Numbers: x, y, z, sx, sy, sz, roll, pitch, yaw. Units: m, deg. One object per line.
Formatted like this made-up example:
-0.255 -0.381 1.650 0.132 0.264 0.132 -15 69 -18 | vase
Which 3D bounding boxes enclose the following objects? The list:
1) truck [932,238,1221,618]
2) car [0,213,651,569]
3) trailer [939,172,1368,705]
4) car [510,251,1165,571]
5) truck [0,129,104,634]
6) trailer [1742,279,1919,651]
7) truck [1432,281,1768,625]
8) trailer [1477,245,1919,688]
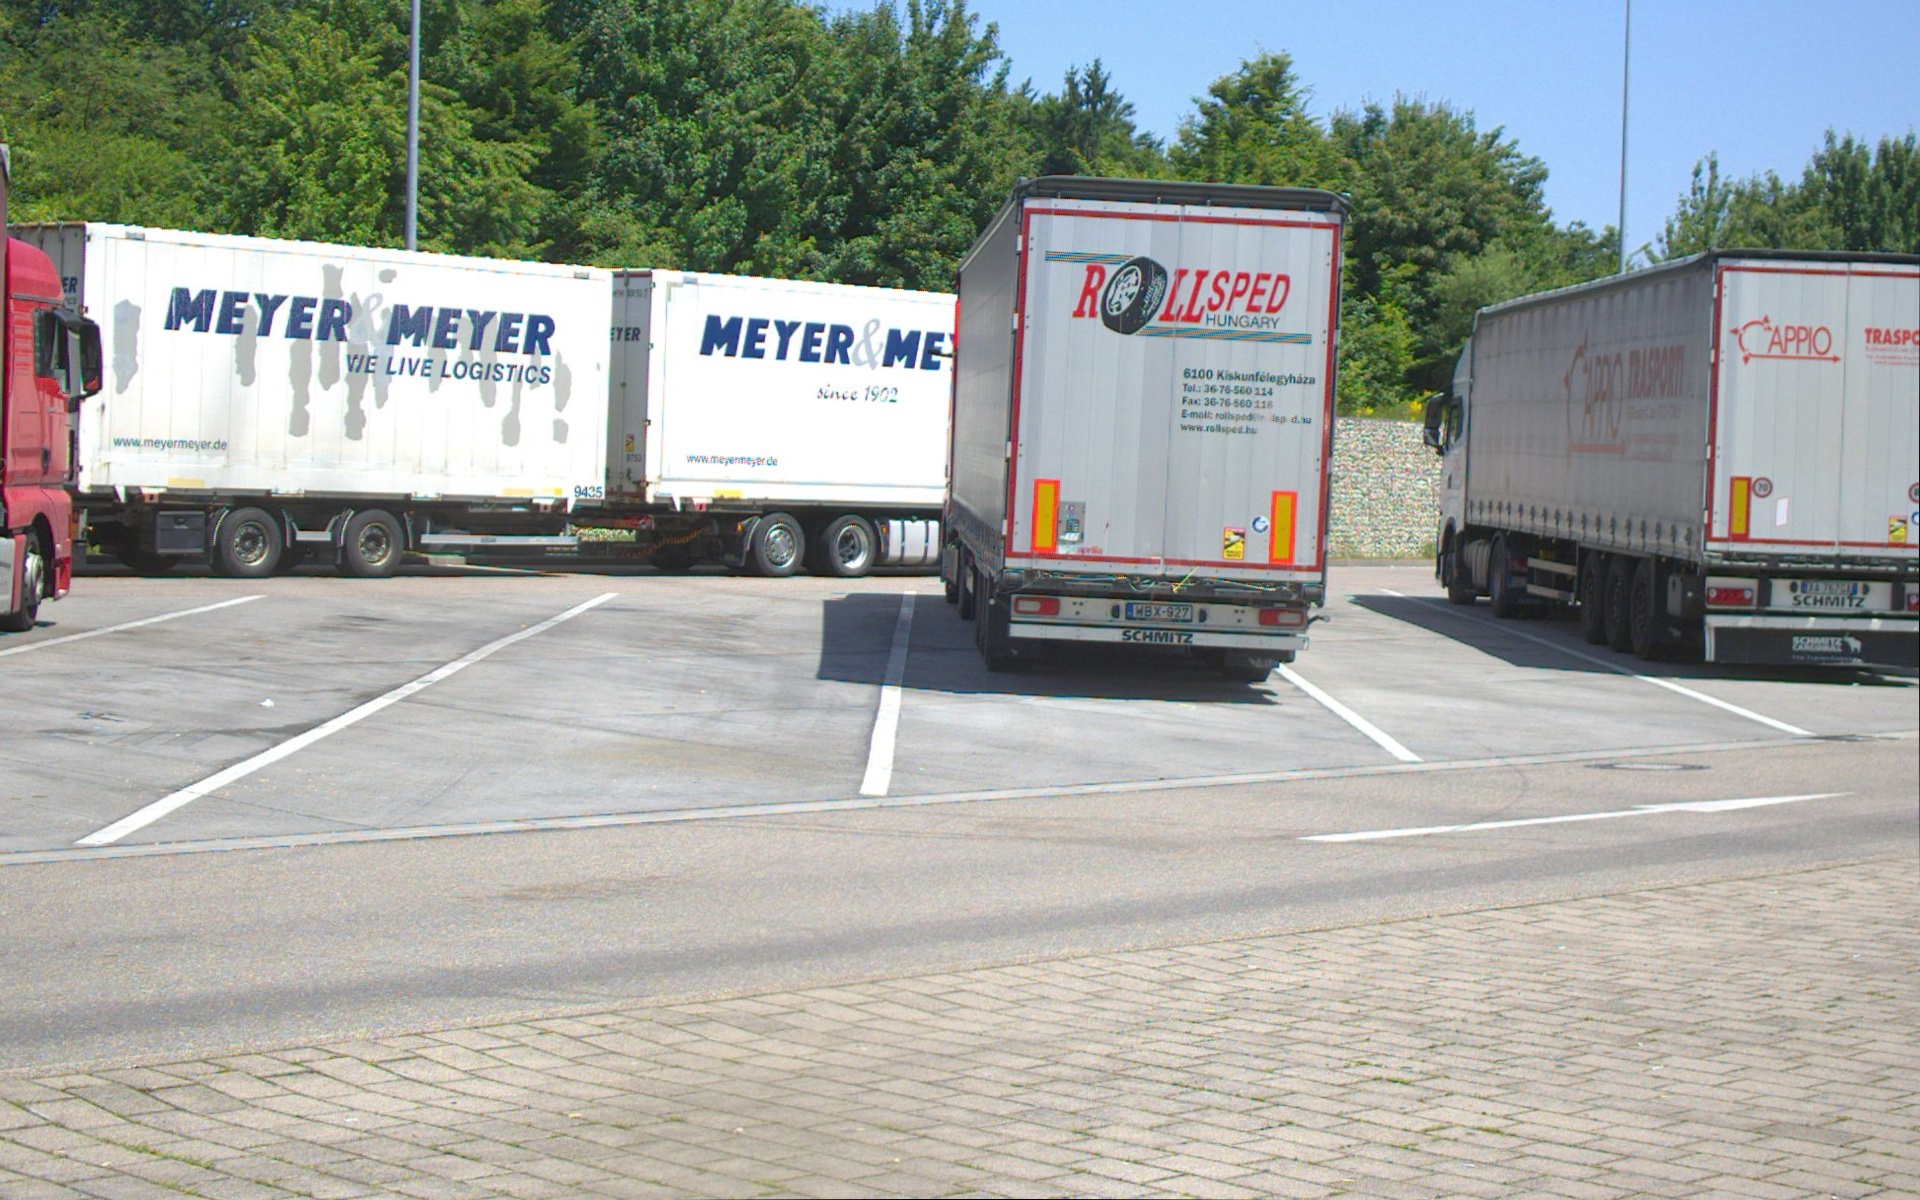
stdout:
1.229 -2.053 40.687 2.866 4.023 7.028 2 3 -2 | truck
-8.023 -2.507 42.904 2.687 4.030 8.446 6 5 44 | car
1.441 -1.634 33.608 2.866 4.023 14.243 2 3 -2 | trailer
-1.523 -2.613 49.607 2.687 4.174 10.190 6 5 45 | car
-9.147 -1.811 27.970 2.696 4.099 6.240 2 3 0 | truck
11.841 -1.525 39.009 2.866 4.023 12.439 2 3 0 | trailer
8.127 -1.948 44.572 2.866 4.023 6.957 2 3 0 | truck
8.185 -1.565 37.945 2.866 4.023 12.439 2 3 0 | trailer
